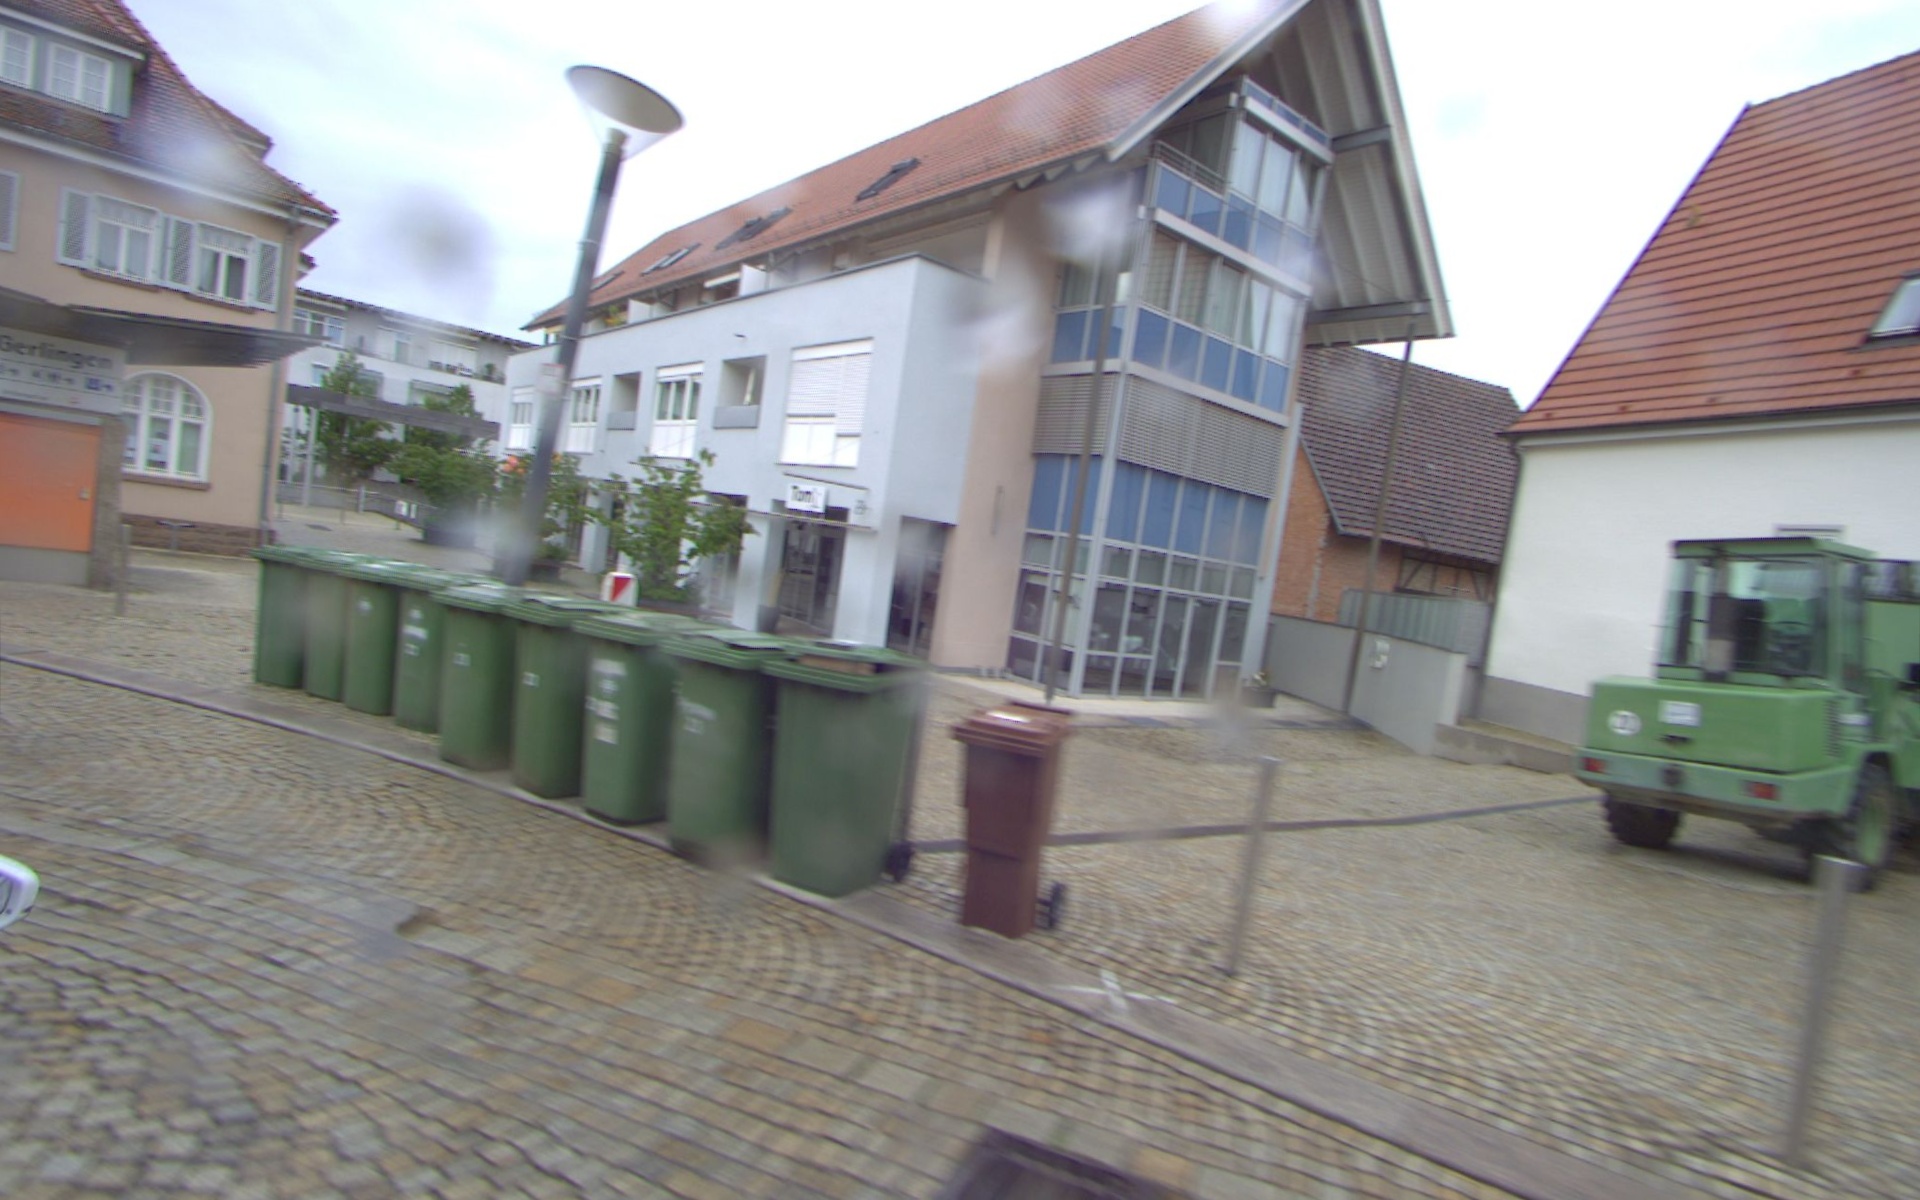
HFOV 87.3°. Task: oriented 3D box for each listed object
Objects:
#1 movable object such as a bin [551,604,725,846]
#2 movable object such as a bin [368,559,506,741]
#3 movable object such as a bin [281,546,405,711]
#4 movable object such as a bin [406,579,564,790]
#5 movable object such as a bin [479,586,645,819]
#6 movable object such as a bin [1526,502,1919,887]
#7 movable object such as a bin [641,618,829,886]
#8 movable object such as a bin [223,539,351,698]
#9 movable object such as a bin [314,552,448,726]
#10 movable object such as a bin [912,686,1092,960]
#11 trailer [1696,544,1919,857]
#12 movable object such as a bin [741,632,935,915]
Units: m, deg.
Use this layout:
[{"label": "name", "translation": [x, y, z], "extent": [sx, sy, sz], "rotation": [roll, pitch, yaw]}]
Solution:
[{"label": "movable object such as a bin", "translation": [-1.692, 0.631, 5.309], "extent": [0.533, 1.141, 0.560], "rotation": [8, 2, 33]}, {"label": "movable object such as a bin", "translation": [-3.587, 0.337, 6.905], "extent": [0.542, 1.141, 0.560], "rotation": [8, 2, 33]}, {"label": "movable object such as a bin", "translation": [-4.607, 0.213, 7.517], "extent": [0.531, 1.141, 0.537], "rotation": [8, 2, 33]}, {"label": "movable object such as a bin", "translation": [-2.837, 0.487, 6.022], "extent": [0.542, 1.141, 0.560], "rotation": [8, 2, 33]}, {"label": "movable object such as a bin", "translation": [-2.230, 0.552, 5.649], "extent": [0.542, 1.174, 0.560], "rotation": [8, 2, 33]}, {"label": "movable object such as a bin", "translation": [7.194, 0.825, 8.492], "extent": [4.238, 2.586, 1.899], "rotation": [7, 1, -26]}, {"label": "movable object such as a bin", "translation": [-1.080, 0.699, 4.858], "extent": [0.542, 1.141, 0.560], "rotation": [8, 2, 33]}, {"label": "movable object such as a bin", "translation": [-5.215, 0.144, 7.808], "extent": [0.530, 1.141, 0.538], "rotation": [8, 2, 23]}, {"label": "movable object such as a bin", "translation": [-4.131, 0.276, 7.187], "extent": [0.542, 1.141, 0.560], "rotation": [8, 2, 33]}, {"label": "movable object such as a bin", "translation": [0.194, 0.917, 4.339], "extent": [0.489, 1.004, 0.561], "rotation": [8, 2, 24]}, {"label": "trailer", "translation": [10.485, 1.224, 9.586], "extent": [2.460, 2.873, 4.603], "rotation": [9, 3, -22]}, {"label": "movable object such as a bin", "translation": [-0.551, 0.752, 4.617], "extent": [0.541, 1.141, 0.560], "rotation": [8, 2, 28]}]
